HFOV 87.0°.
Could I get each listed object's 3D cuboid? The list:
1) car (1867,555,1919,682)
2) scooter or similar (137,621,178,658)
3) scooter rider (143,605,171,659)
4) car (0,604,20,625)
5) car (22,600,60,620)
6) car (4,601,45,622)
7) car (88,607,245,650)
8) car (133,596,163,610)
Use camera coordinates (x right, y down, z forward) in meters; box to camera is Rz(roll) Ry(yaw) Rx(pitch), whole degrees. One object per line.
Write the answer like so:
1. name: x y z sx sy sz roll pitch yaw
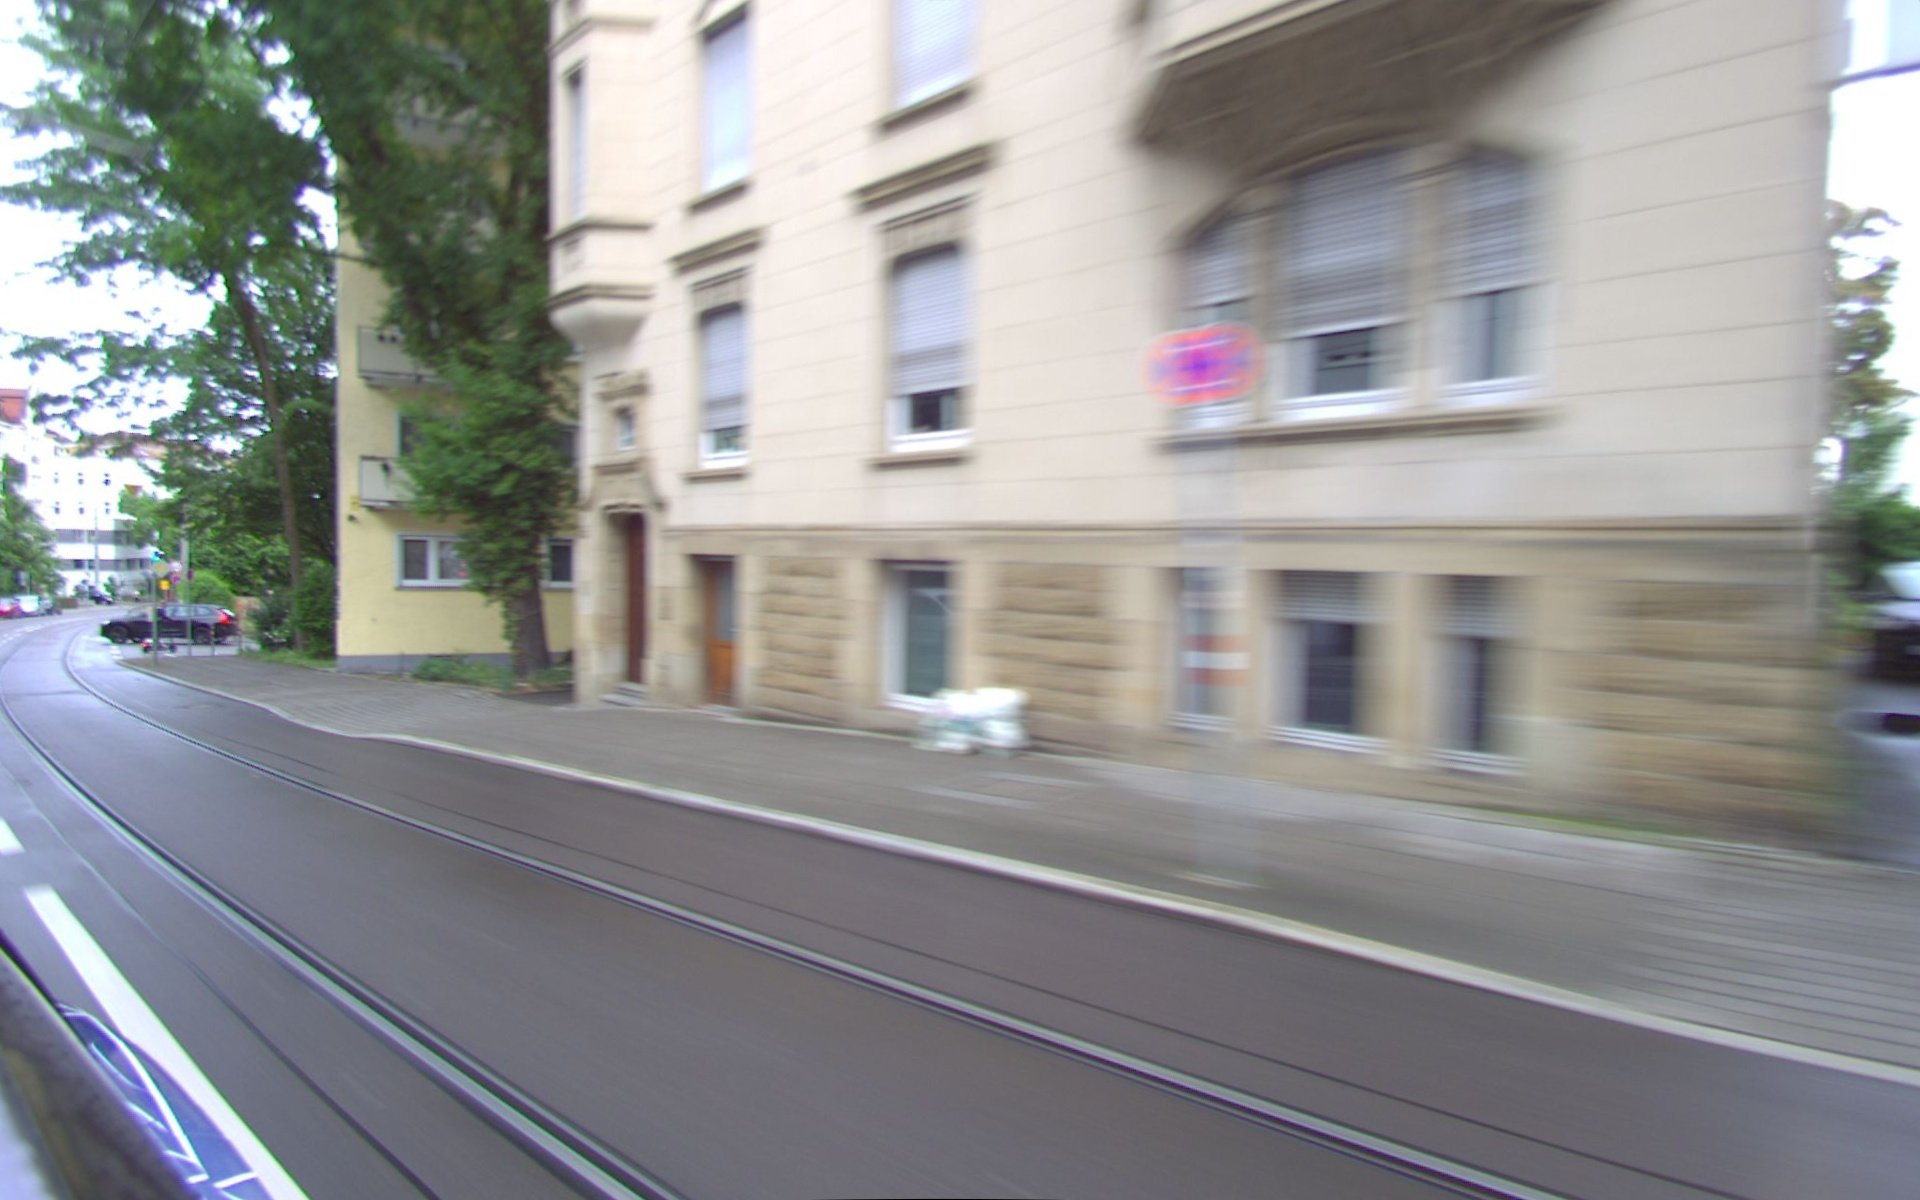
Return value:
1. car: 12.753 0.154 12.894 1.740 1.465 3.945 -2 0 42
2. scooter or similar: -28.836 1.407 36.362 0.645 1.270 1.074 1 0 44
3. scooter rider: -28.847 1.140 36.351 0.645 1.872 0.680 1 0 44
4. car: -66.769 1.019 70.269 1.532 1.378 3.133 -3 2 -32
5. car: -74.507 0.794 82.123 1.588 1.453 3.699 -3 2 -32
6. car: -71.712 0.865 77.648 1.588 1.453 3.699 -3 2 -32
7. car: -32.806 1.170 42.011 4.689 1.690 2.078 1 0 -20
8. car: -94.656 0.366 118.006 1.769 1.521 4.014 -1 1 -25
